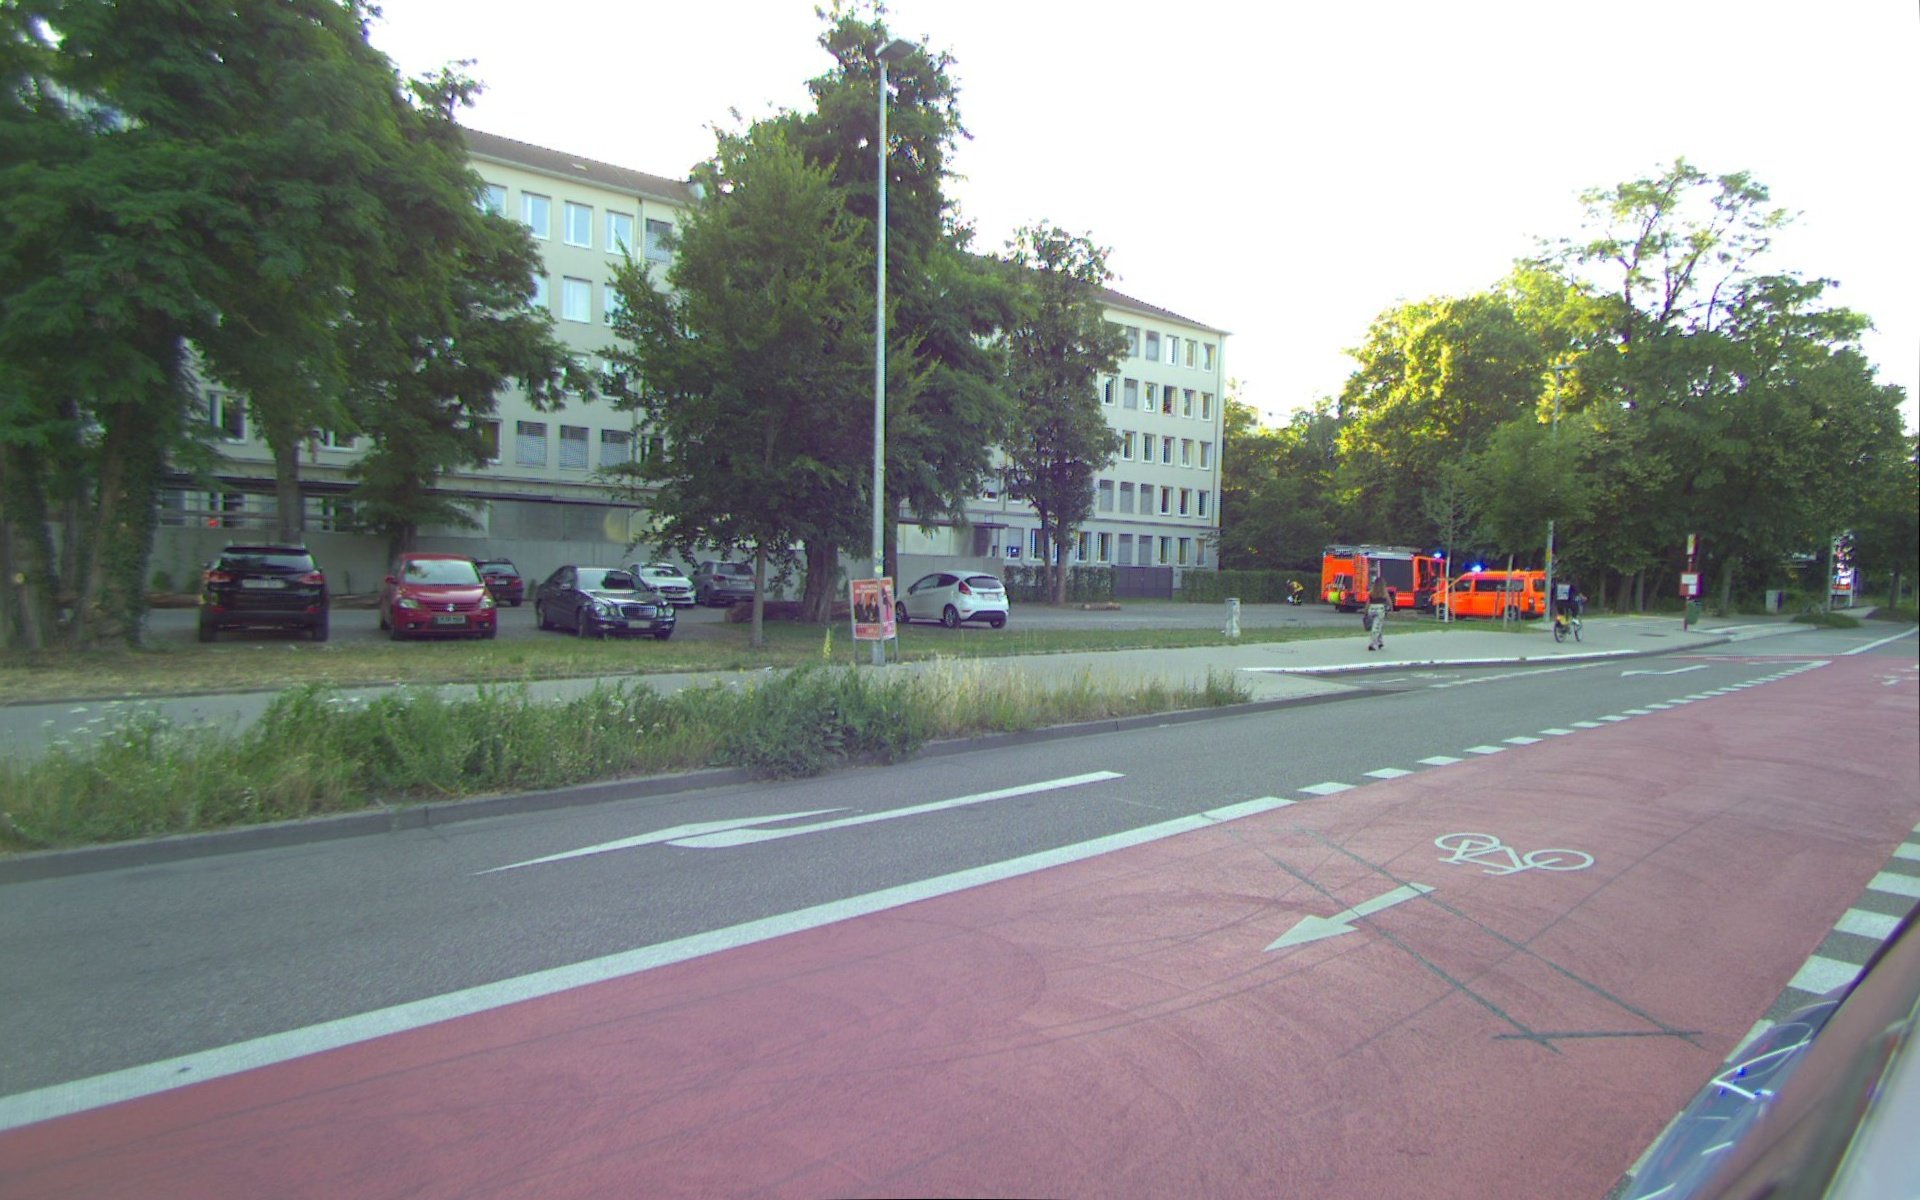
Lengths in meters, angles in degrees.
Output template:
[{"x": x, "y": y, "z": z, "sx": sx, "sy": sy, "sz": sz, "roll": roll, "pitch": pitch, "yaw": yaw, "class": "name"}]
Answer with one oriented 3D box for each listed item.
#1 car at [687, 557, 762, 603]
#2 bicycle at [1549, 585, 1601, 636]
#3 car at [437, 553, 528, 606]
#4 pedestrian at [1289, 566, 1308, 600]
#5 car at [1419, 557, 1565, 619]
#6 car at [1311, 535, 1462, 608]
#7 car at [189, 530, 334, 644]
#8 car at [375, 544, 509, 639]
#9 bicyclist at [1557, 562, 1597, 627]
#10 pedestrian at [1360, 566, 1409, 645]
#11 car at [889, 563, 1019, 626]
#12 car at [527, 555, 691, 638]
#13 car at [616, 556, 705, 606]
[{"x": -8.203, "y": -0.706, "z": 35.081, "sx": 1.734, "sy": 1.477, "sz": 3.320, "roll": 1, "pitch": 2, "yaw": -27, "class": "car"}, {"x": 15.975, "y": 0.257, "z": 26.272, "sx": 1.866, "sy": 1.256, "sz": 0.571, "roll": 0, "pitch": 2, "yaw": -41, "class": "bicycle"}, {"x": -14.527, "y": -0.642, "z": 30.697, "sx": 1.738, "sy": 1.477, "sz": 3.626, "roll": 0, "pitch": 3, "yaw": -38, "class": "car"}, {"x": 18.523, "y": -0.931, "z": 55.351, "sx": 0.838, "sy": 1.864, "sz": 0.676, "roll": 3, "pitch": 1, "yaw": 28, "class": "pedestrian"}, {"x": 22.779, "y": -0.575, "z": 43.553, "sx": 1.963, "sy": 2.422, "sz": 5.168, "roll": 0, "pitch": 2, "yaw": -37, "class": "car"}, {"x": 20.965, "y": -1.356, "z": 49.516, "sx": 8.138, "sy": 3.283, "sz": 2.775, "roll": 0, "pitch": 2, "yaw": -34, "class": "car"}, {"x": -12.291, "y": -0.295, "z": 17.861, "sx": 1.882, "sy": 1.761, "sz": 4.241, "roll": 0, "pitch": 2, "yaw": -35, "class": "car"}, {"x": -10.109, "y": -0.235, "z": 19.595, "sx": 1.882, "sy": 1.630, "sz": 4.003, "roll": 0, "pitch": 2, "yaw": -33, "class": "car"}, {"x": 16.045, "y": -0.157, "z": 26.310, "sx": 1.019, "sy": 1.652, "sz": 0.571, "roll": 0, "pitch": 2, "yaw": -41, "class": "bicyclist"}, {"x": 9.047, "y": 0.106, "z": 21.591, "sx": 0.676, "sy": 1.642, "sz": 0.682, "roll": 1, "pitch": 2, "yaw": -41, "class": "pedestrian"}, {"x": -0.222, "y": -0.195, "z": 26.854, "sx": 1.633, "sy": 1.477, "sz": 3.667, "roll": 0, "pitch": 2, "yaw": -35, "class": "car"}, {"x": -7.384, "y": -0.145, "z": 20.987, "sx": 1.884, "sy": 1.482, "sz": 4.519, "roll": 0, "pitch": 3, "yaw": -37, "class": "car"}, {"x": -10.019, "y": -0.663, "z": 33.683, "sx": 1.880, "sy": 1.540, "sz": 3.921, "roll": 0, "pitch": 2, "yaw": -32, "class": "car"}]
